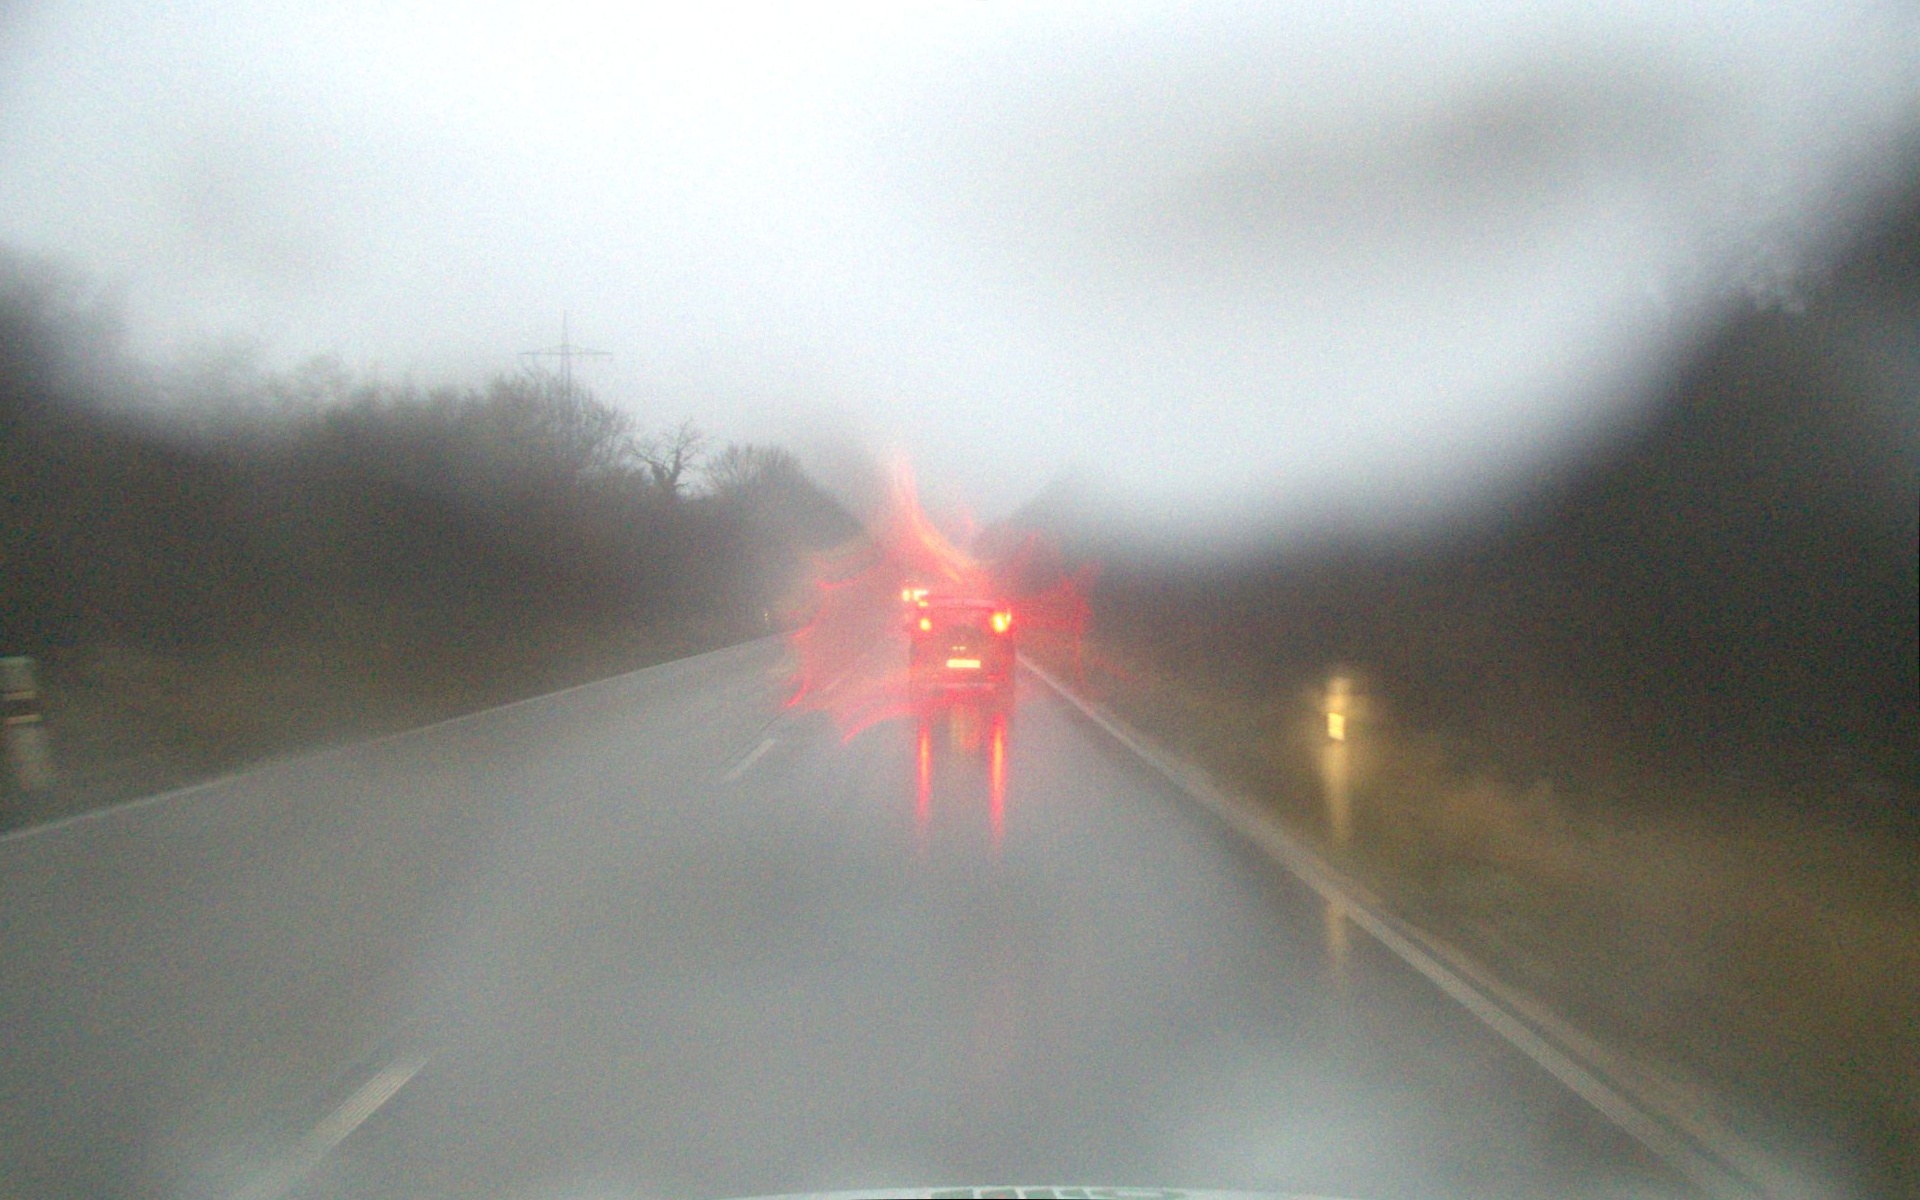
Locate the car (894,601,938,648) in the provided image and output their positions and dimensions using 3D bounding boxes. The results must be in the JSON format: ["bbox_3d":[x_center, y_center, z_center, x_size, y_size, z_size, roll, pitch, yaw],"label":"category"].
[{"bbox_3d":[-1.763,0.968,66.683,1.698,1.810,3.999,1,0,-1],"label":"car"}]

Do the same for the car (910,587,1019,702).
[{"bbox_3d":[0.047,0.668,26.535,1.614,1.701,3.513,1,0,-1],"label":"car"}]
